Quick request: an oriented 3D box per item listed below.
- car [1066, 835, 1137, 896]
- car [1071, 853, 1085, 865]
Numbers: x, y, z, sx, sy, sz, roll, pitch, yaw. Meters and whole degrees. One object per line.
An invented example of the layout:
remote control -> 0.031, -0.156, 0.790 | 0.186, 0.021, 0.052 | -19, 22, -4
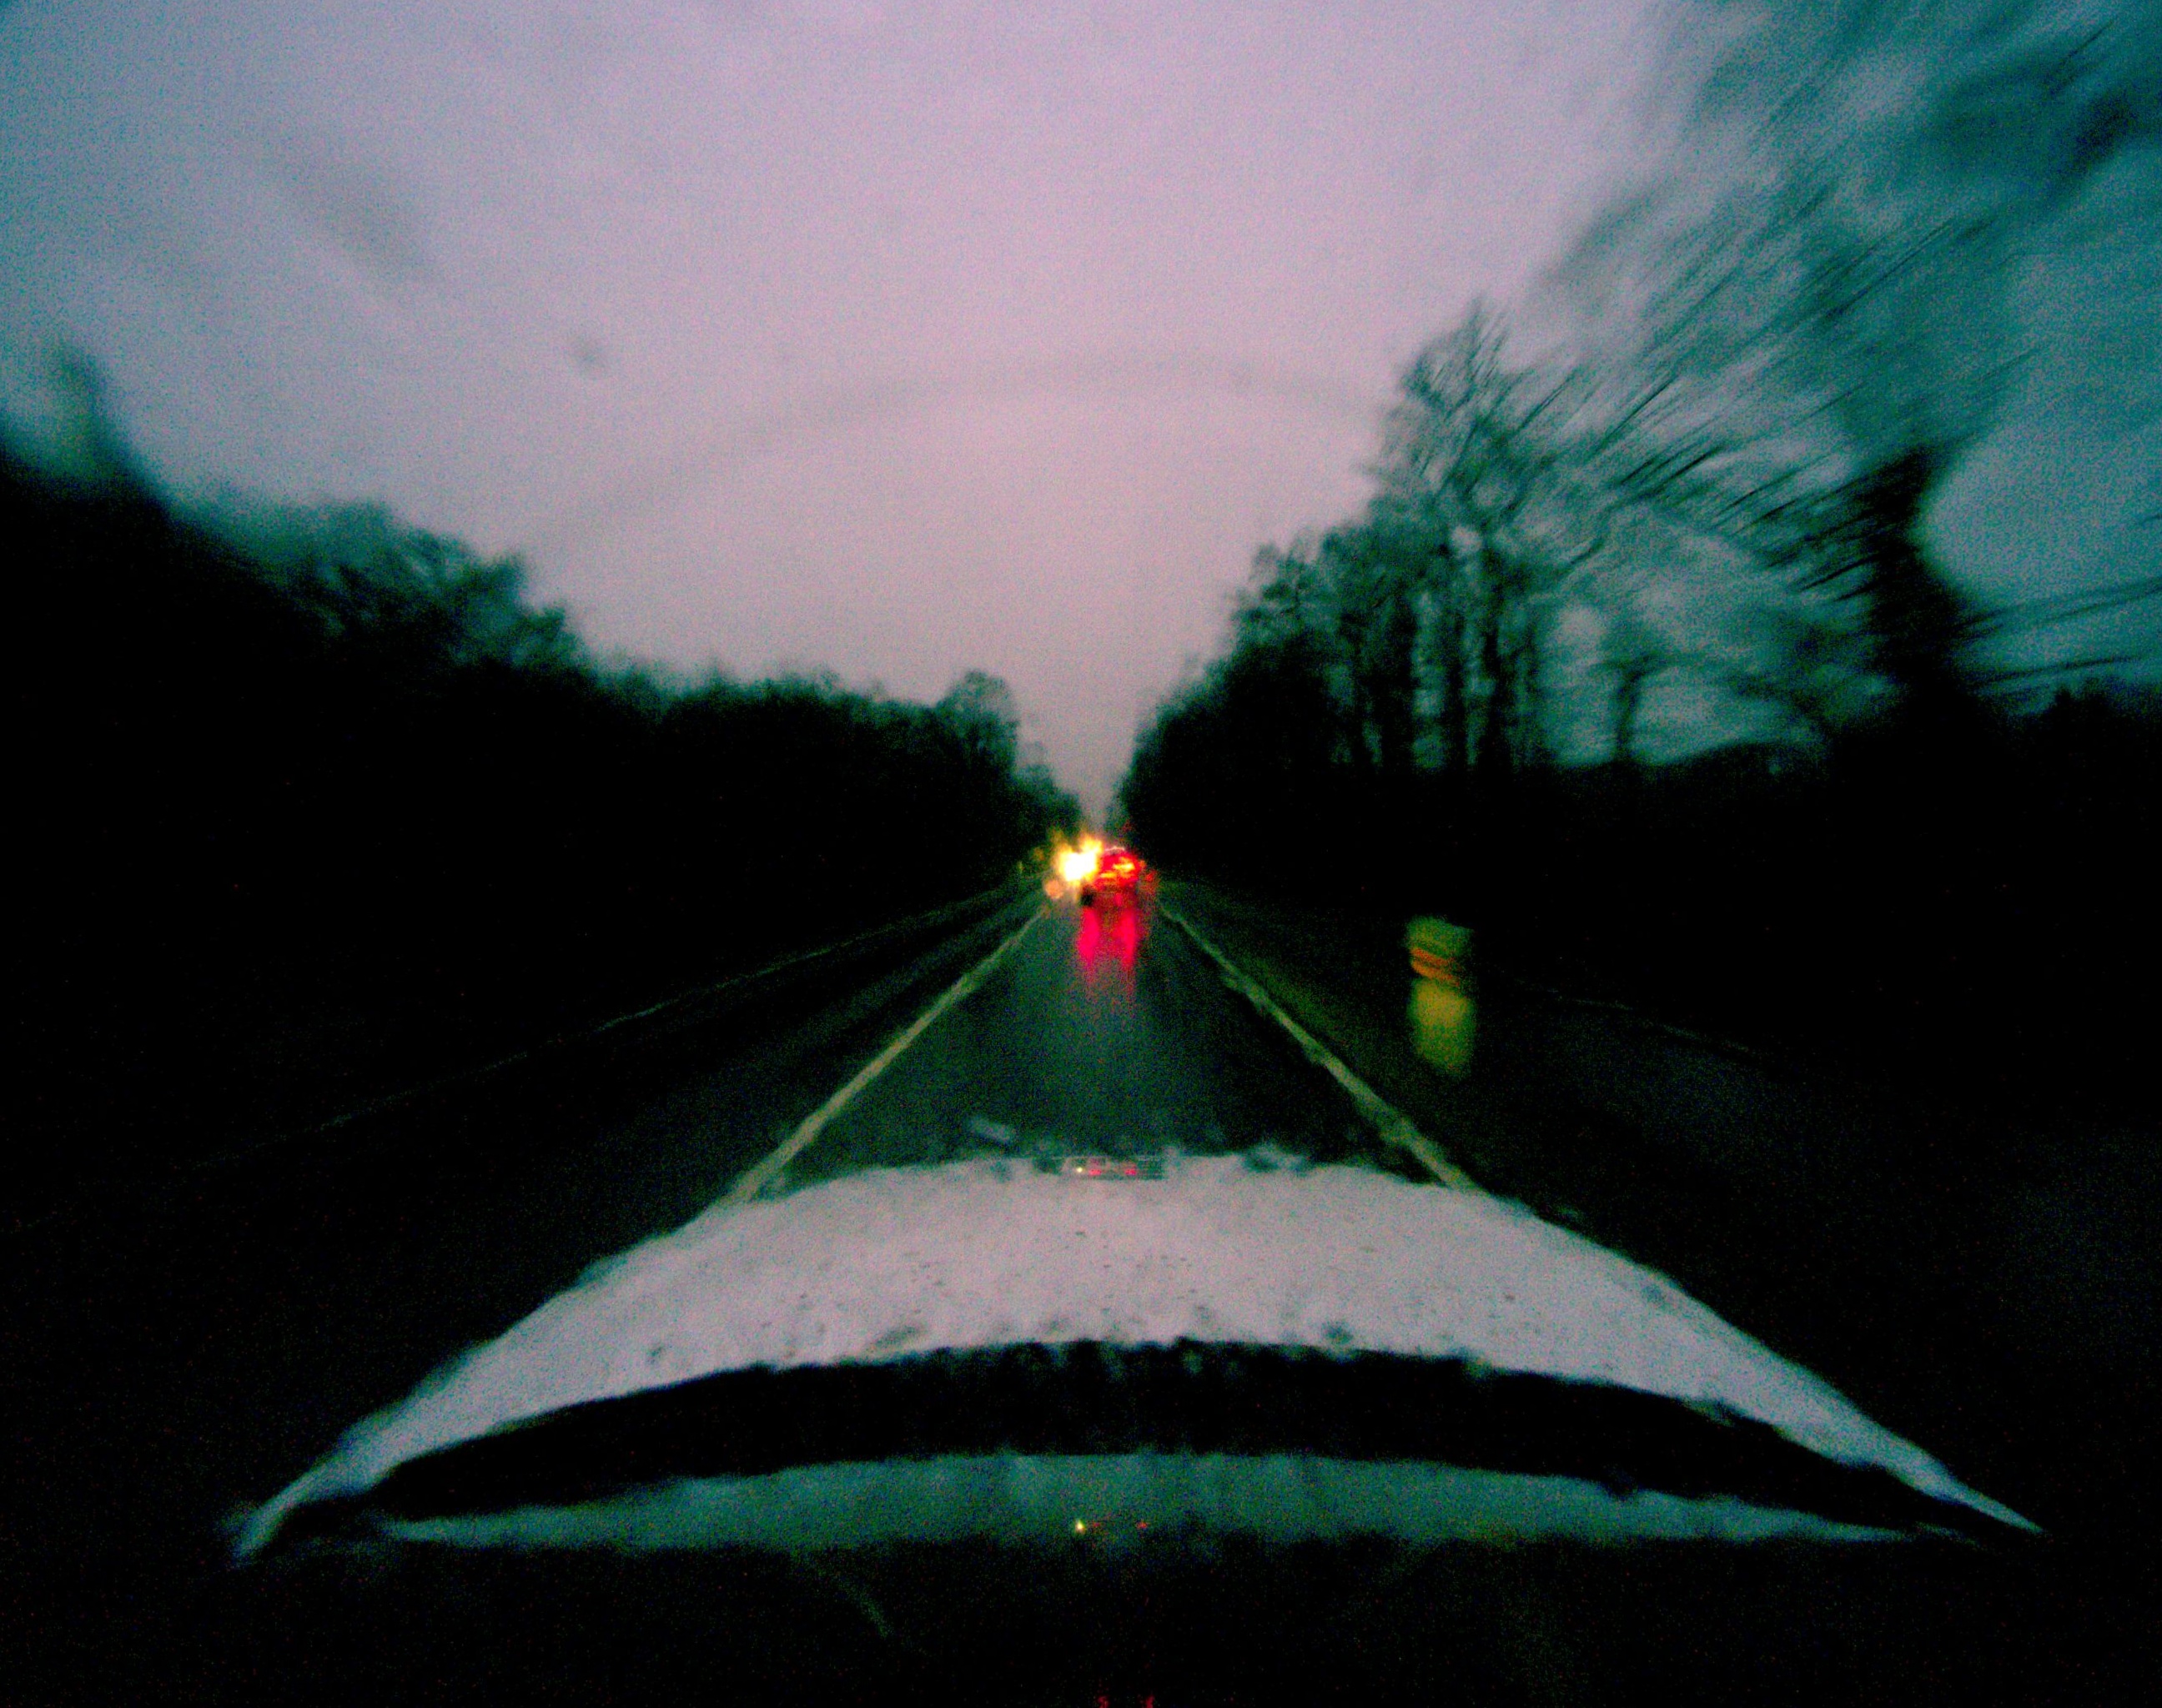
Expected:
car -> 0.692, 0.349, 27.711 | 2.190, 1.877, 4.828 | -1, 0, 1
car -> -0.330, 0.617, 107.076 | 1.592, 1.495, 3.897 | -3, 0, 2
